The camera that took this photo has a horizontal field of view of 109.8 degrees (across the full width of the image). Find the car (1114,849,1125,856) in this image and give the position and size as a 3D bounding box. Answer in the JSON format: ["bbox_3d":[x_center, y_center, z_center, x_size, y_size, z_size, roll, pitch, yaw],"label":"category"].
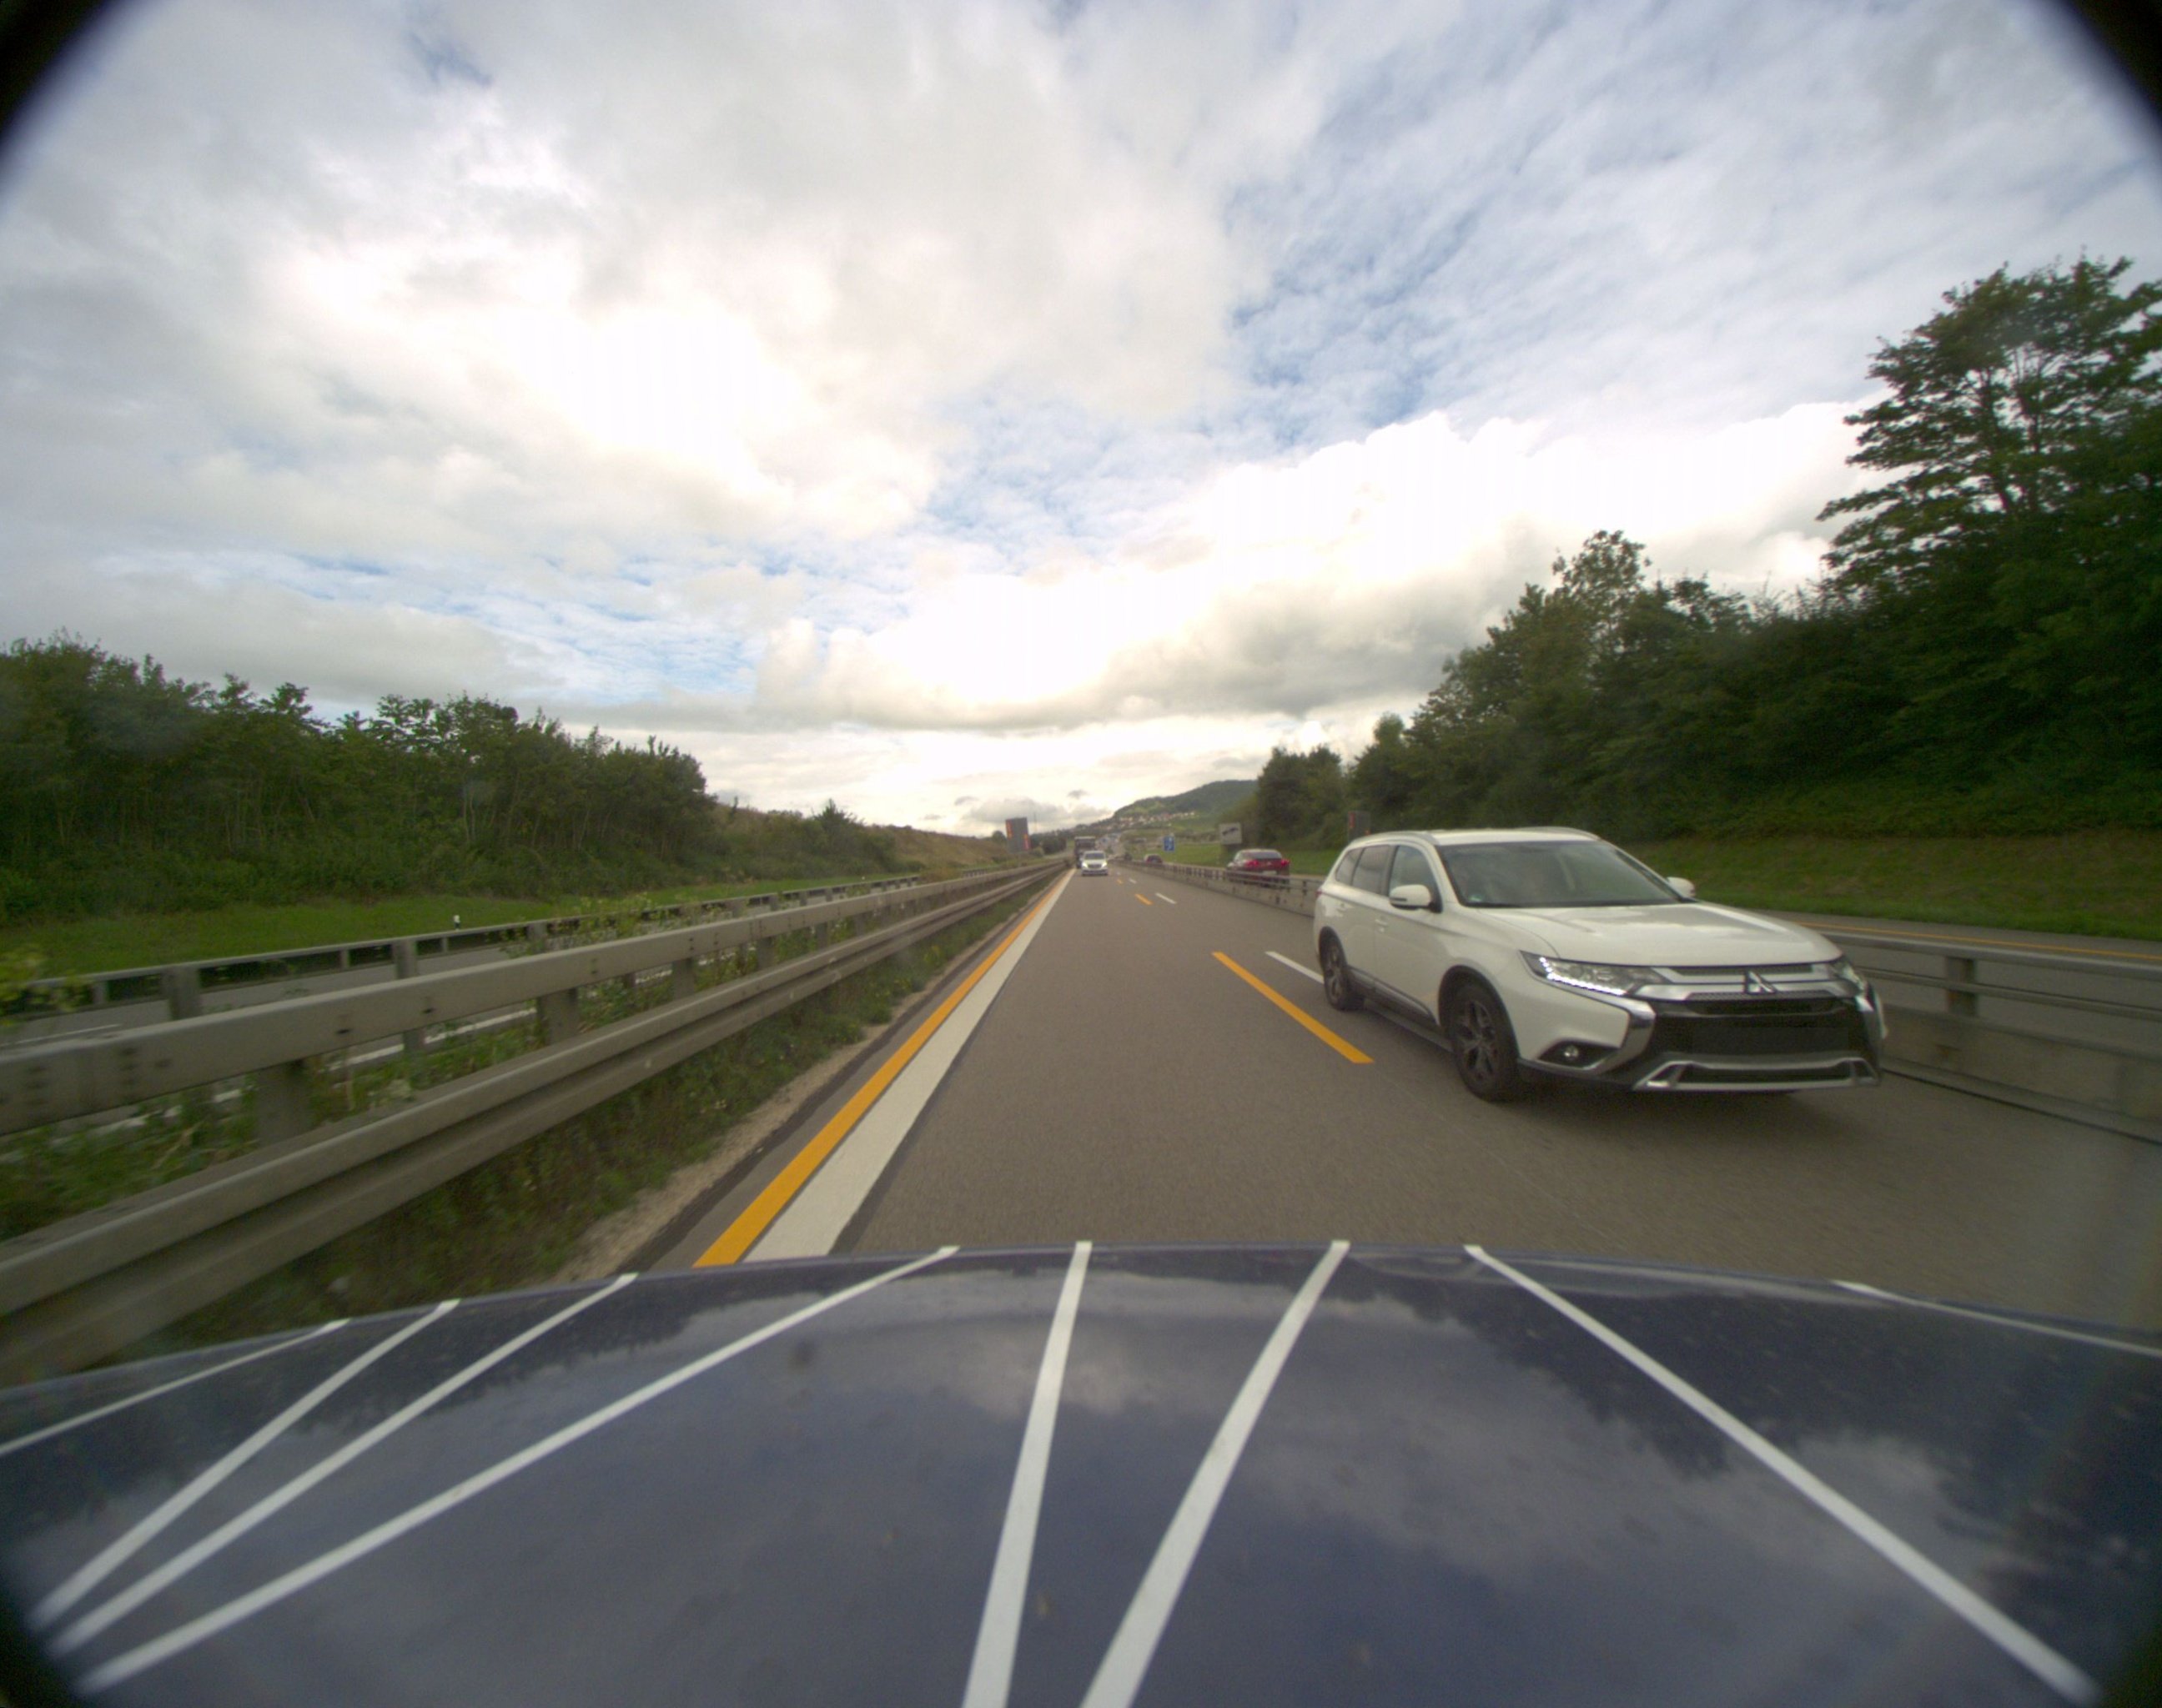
[{"bbox_3d":[8.285,-0.299,164.698,1.998,1.512,4.953,-2,0,0],"label":"car"}]

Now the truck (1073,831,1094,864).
[{"bbox_3d":[0.382,-0.837,98.089,2.521,4.081,5.684,-2,1,1],"label":"truck"}]

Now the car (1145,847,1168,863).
[{"bbox_3d":[7.719,0.108,78.405,2.003,1.491,4.900,-2,0,2],"label":"car"}]

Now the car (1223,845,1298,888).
[{"bbox_3d":[7.160,0.455,30.814,1.939,1.482,4.589,-3,0,1],"label":"car"}]

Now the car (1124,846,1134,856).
[{"bbox_3d":[11.478,-0.776,181.770,1.999,2.239,5.049,-2,0,-1],"label":"car"}]

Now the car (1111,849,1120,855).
[{"bbox_3d":[9.061,-0.455,198.082,1.998,1.512,4.669,-2,0,0],"label":"car"}]

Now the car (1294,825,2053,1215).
[{"bbox_3d":[3.164,0.701,5.539,1.998,1.618,4.607,-2,0,1],"label":"car"}]

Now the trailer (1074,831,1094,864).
[{"bbox_3d":[0.485,-0.895,103.424,2.521,4.081,11.112,-2,1,1],"label":"trailer"}]

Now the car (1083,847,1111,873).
[{"bbox_3d":[1.162,0.433,57.280,1.991,1.787,4.585,-2,1,1],"label":"car"}]
